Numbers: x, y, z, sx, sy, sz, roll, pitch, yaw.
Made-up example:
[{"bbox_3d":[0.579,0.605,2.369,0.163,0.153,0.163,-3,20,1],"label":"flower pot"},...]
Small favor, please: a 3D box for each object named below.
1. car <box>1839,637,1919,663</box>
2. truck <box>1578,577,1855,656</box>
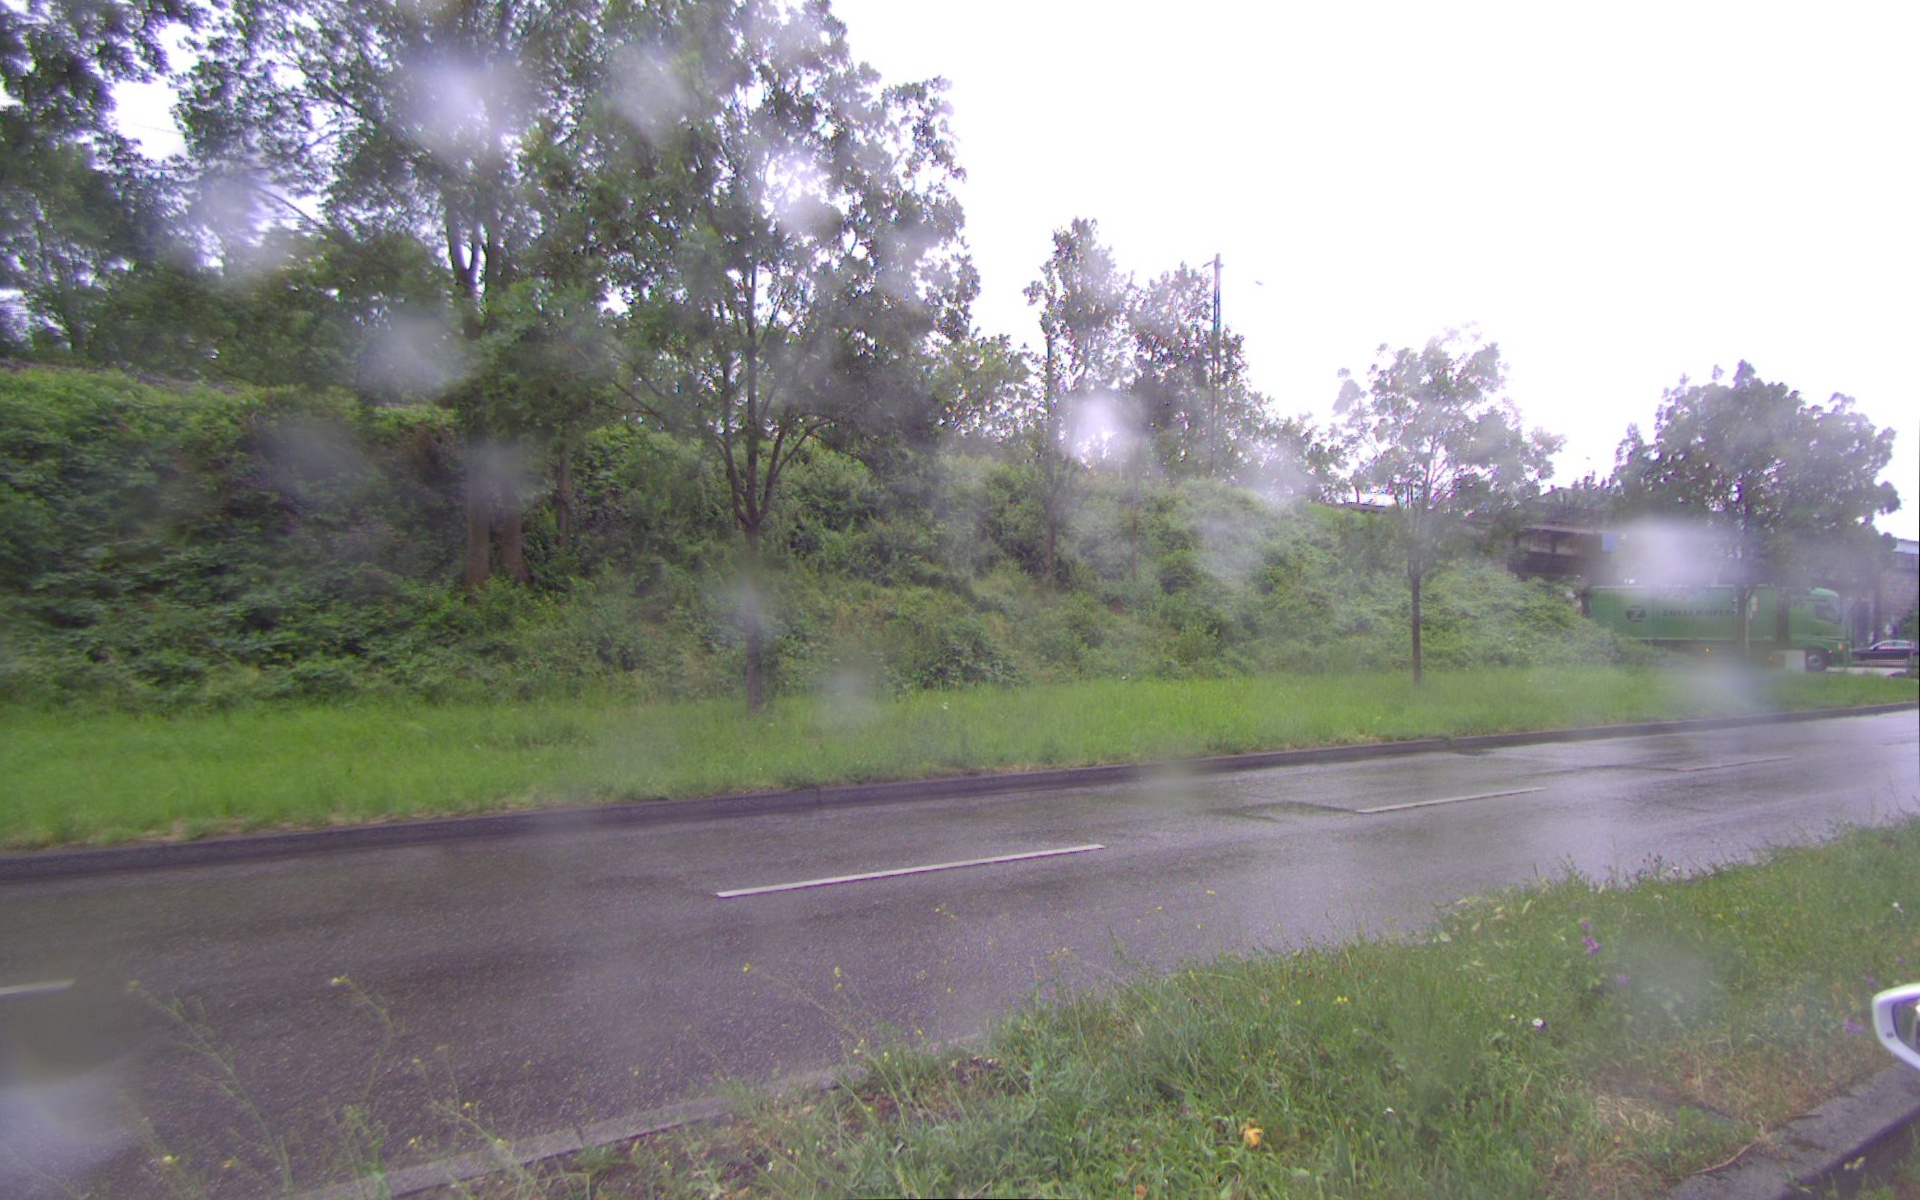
[{"bbox_3d":[53.469,2.880,57.947,3.796,1.403,1.680,0,-1,24],"label":"car"},{"bbox_3d":[34.361,0.714,46.218,9.872,3.416,2.346,0,-1,25],"label":"truck"}]
